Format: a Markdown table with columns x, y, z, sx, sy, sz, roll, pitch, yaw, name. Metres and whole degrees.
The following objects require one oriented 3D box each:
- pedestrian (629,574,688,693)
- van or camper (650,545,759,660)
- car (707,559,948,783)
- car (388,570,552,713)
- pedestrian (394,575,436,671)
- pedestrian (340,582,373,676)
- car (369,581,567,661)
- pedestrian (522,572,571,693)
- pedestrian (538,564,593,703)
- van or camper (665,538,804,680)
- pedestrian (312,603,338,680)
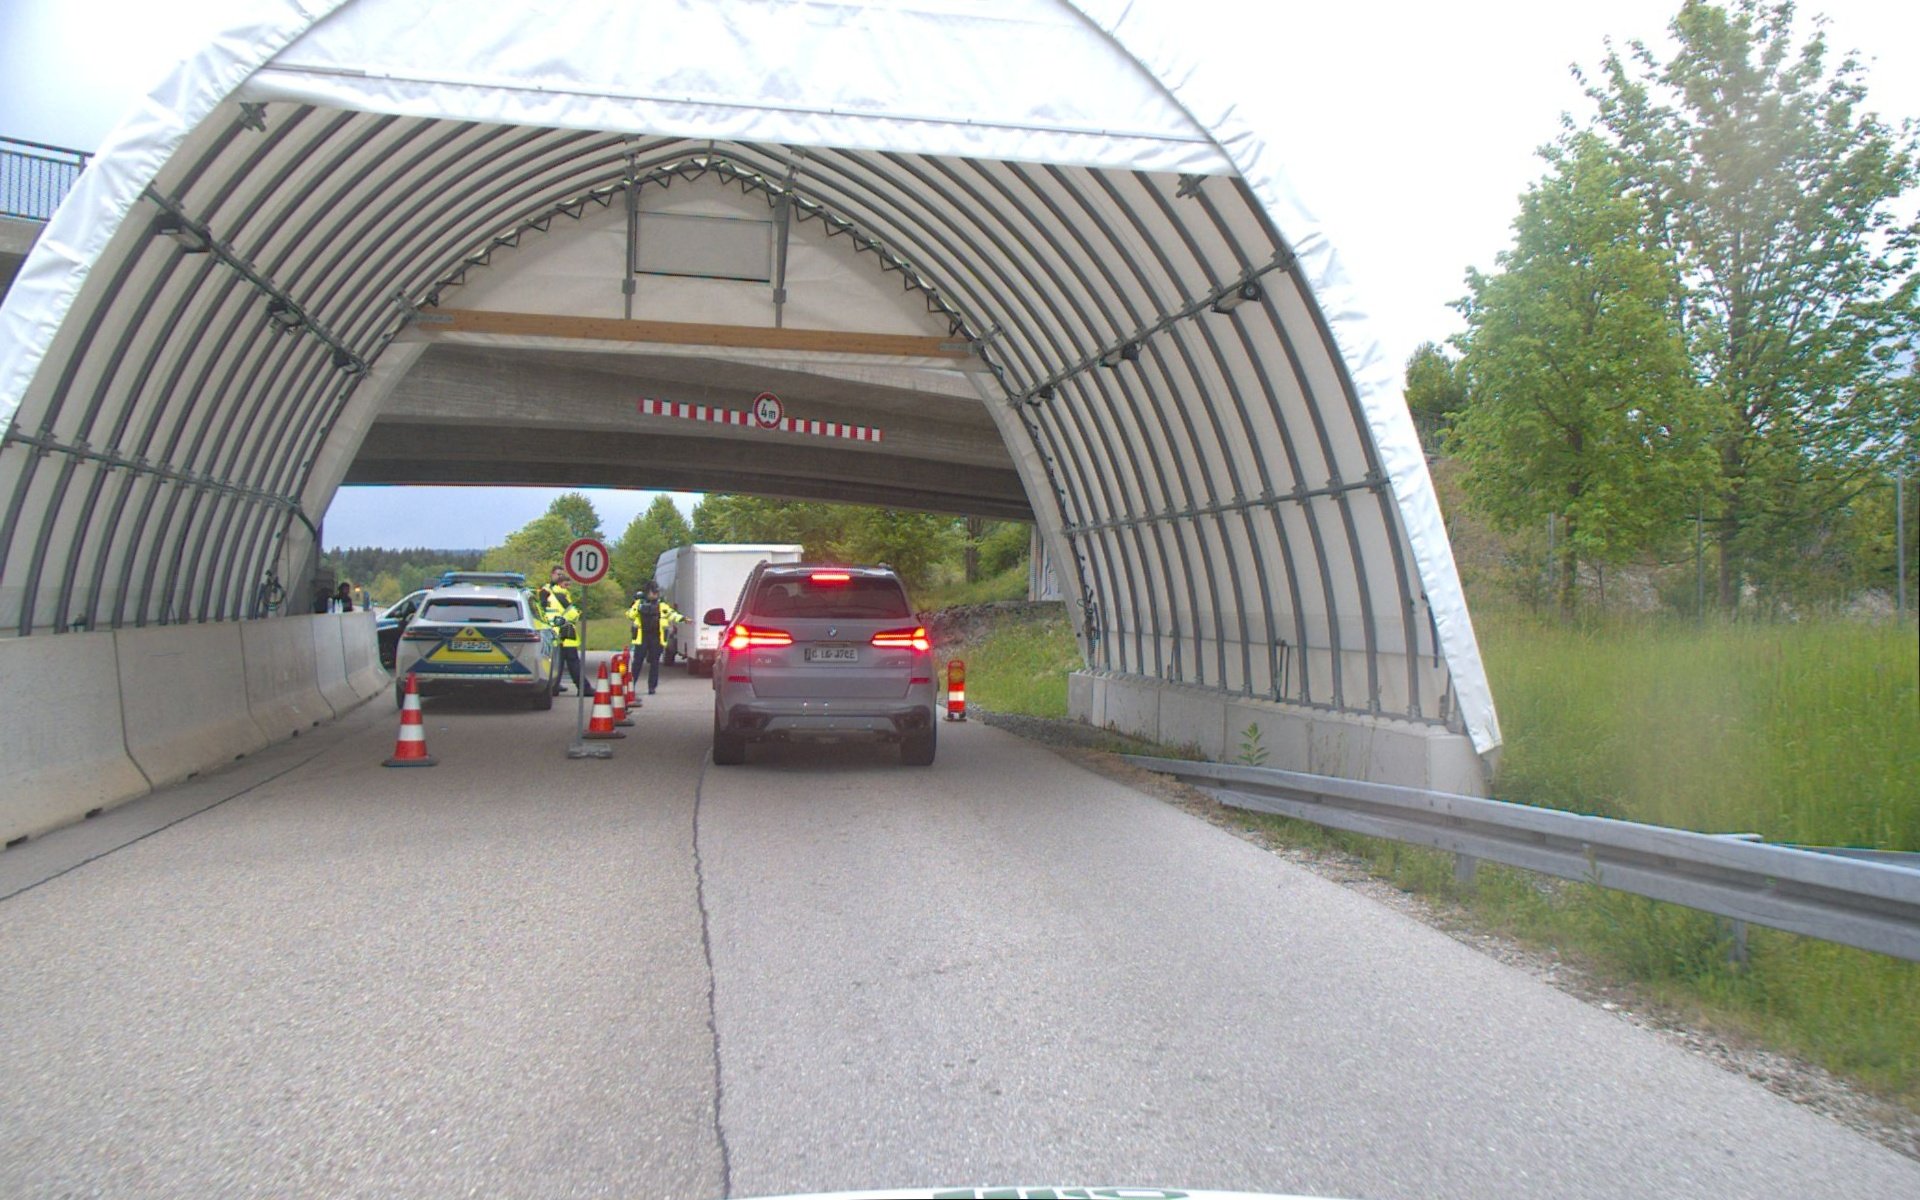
| x | y | z | sx | sy | sz | roll | pitch | yaw | name |
| --- | --- | --- | --- | --- | --- | --- | --- | --- | --- |
| -4.547 | 0.499 | 24.903 | 0.768 | 1.752 | 0.752 | 0 | 0 | -19 | pedestrian |
| -6.211 | 0.058 | 39.724 | 2.069 | 2.563 | 5.529 | 0 | 0 | -15 | van or camper |
| -1.355 | 0.570 | 15.439 | 1.956 | 1.796 | 3.992 | 0 | 0 | -8 | car |
| -6.290 | 0.484 | 21.595 | 1.846 | 1.675 | 3.986 | 0 | 0 | -14 | car |
| -11.686 | 0.491 | 35.477 | 0.686 | 2.049 | 0.692 | 0 | 0 | 0 | pedestrian |
| -13.342 | 0.632 | 36.583 | 0.614 | 2.049 | 0.653 | 0 | 0 | -16 | pedestrian |
| -13.037 | 0.547 | 43.951 | 4.703 | 2.049 | 1.842 | 0 | 0 | 8 | car |
| -6.180 | 0.474 | 24.748 | 0.597 | 1.784 | 0.665 | 0 | 0 | -5 | pedestrian |
| -5.672 | 0.467 | 23.780 | 0.736 | 1.952 | 0.760 | 0 | 0 | -14 | pedestrian |
| -4.723 | 0.159 | 33.751 | 2.192 | 2.597 | 6.588 | 0 | 0 | -13 | van or camper |
| -13.156 | 0.857 | 34.267 | 0.495 | 1.573 | 0.460 | 0 | 0 | -20 | pedestrian |
